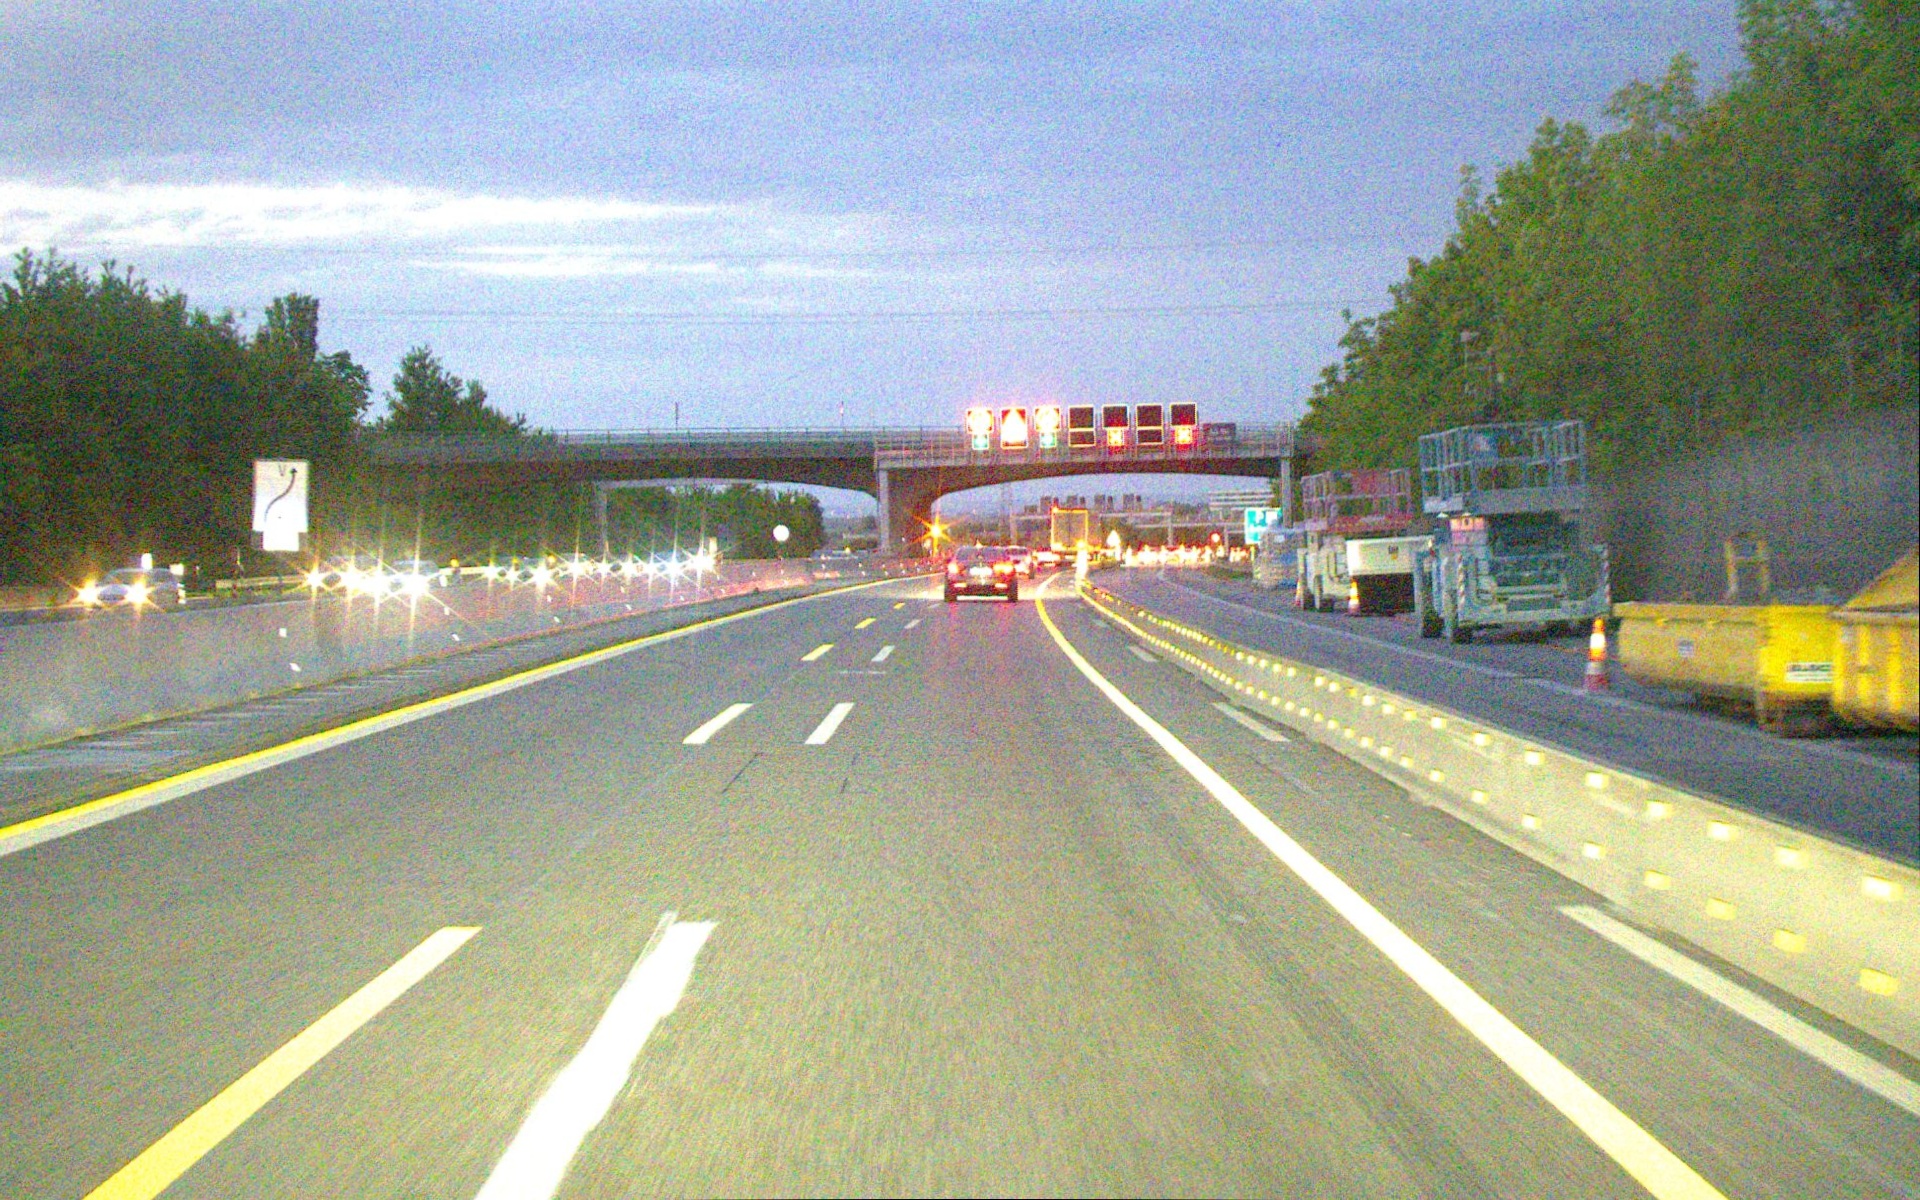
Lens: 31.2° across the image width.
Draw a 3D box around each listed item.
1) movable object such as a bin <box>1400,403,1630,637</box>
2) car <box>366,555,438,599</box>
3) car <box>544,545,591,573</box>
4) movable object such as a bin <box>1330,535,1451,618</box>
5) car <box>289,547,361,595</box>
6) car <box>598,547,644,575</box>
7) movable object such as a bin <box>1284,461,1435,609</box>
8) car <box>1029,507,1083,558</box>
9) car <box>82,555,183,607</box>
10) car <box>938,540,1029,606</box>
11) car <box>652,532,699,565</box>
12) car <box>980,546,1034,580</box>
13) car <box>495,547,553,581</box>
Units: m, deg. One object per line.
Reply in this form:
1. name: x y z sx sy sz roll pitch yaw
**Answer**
1. movable object such as a bin: 8.356 -1.181 52.365 2.564 3.306 5.579 -1 1 0
2. car: -20.762 -0.865 128.080 1.807 1.583 4.877 1 1 1
3. car: -21.830 -2.262 191.393 1.825 1.480 4.701 1 1 3
4. movable object such as a bin: 8.780 -0.474 70.368 1.993 1.596 4.084 -2 0 1
5. car: -23.761 -1.083 128.849 1.750 1.716 4.670 1 1 1
6. car: -18.556 -2.116 188.180 1.810 1.480 4.701 1 1 3
7. movable object such as a bin: 8.692 -1.395 75.321 2.620 3.097 5.806 -1 1 0
8. car: 6.749 -4.691 240.625 3.605 3.384 8.014 1 1 2
9. car: -24.648 -0.575 102.531 1.673 1.465 4.646 1 1 3
10. car: 0.593 -0.708 88.412 2.265 1.616 4.000 1 1 0
11. car: -15.437 -2.791 186.707 1.901 1.732 4.807 1 1 3
12. car: 2.037 -1.603 149.125 1.972 1.432 3.999 1 1 6
13. car: -19.381 -1.585 152.953 1.750 1.449 4.670 1 1 2
